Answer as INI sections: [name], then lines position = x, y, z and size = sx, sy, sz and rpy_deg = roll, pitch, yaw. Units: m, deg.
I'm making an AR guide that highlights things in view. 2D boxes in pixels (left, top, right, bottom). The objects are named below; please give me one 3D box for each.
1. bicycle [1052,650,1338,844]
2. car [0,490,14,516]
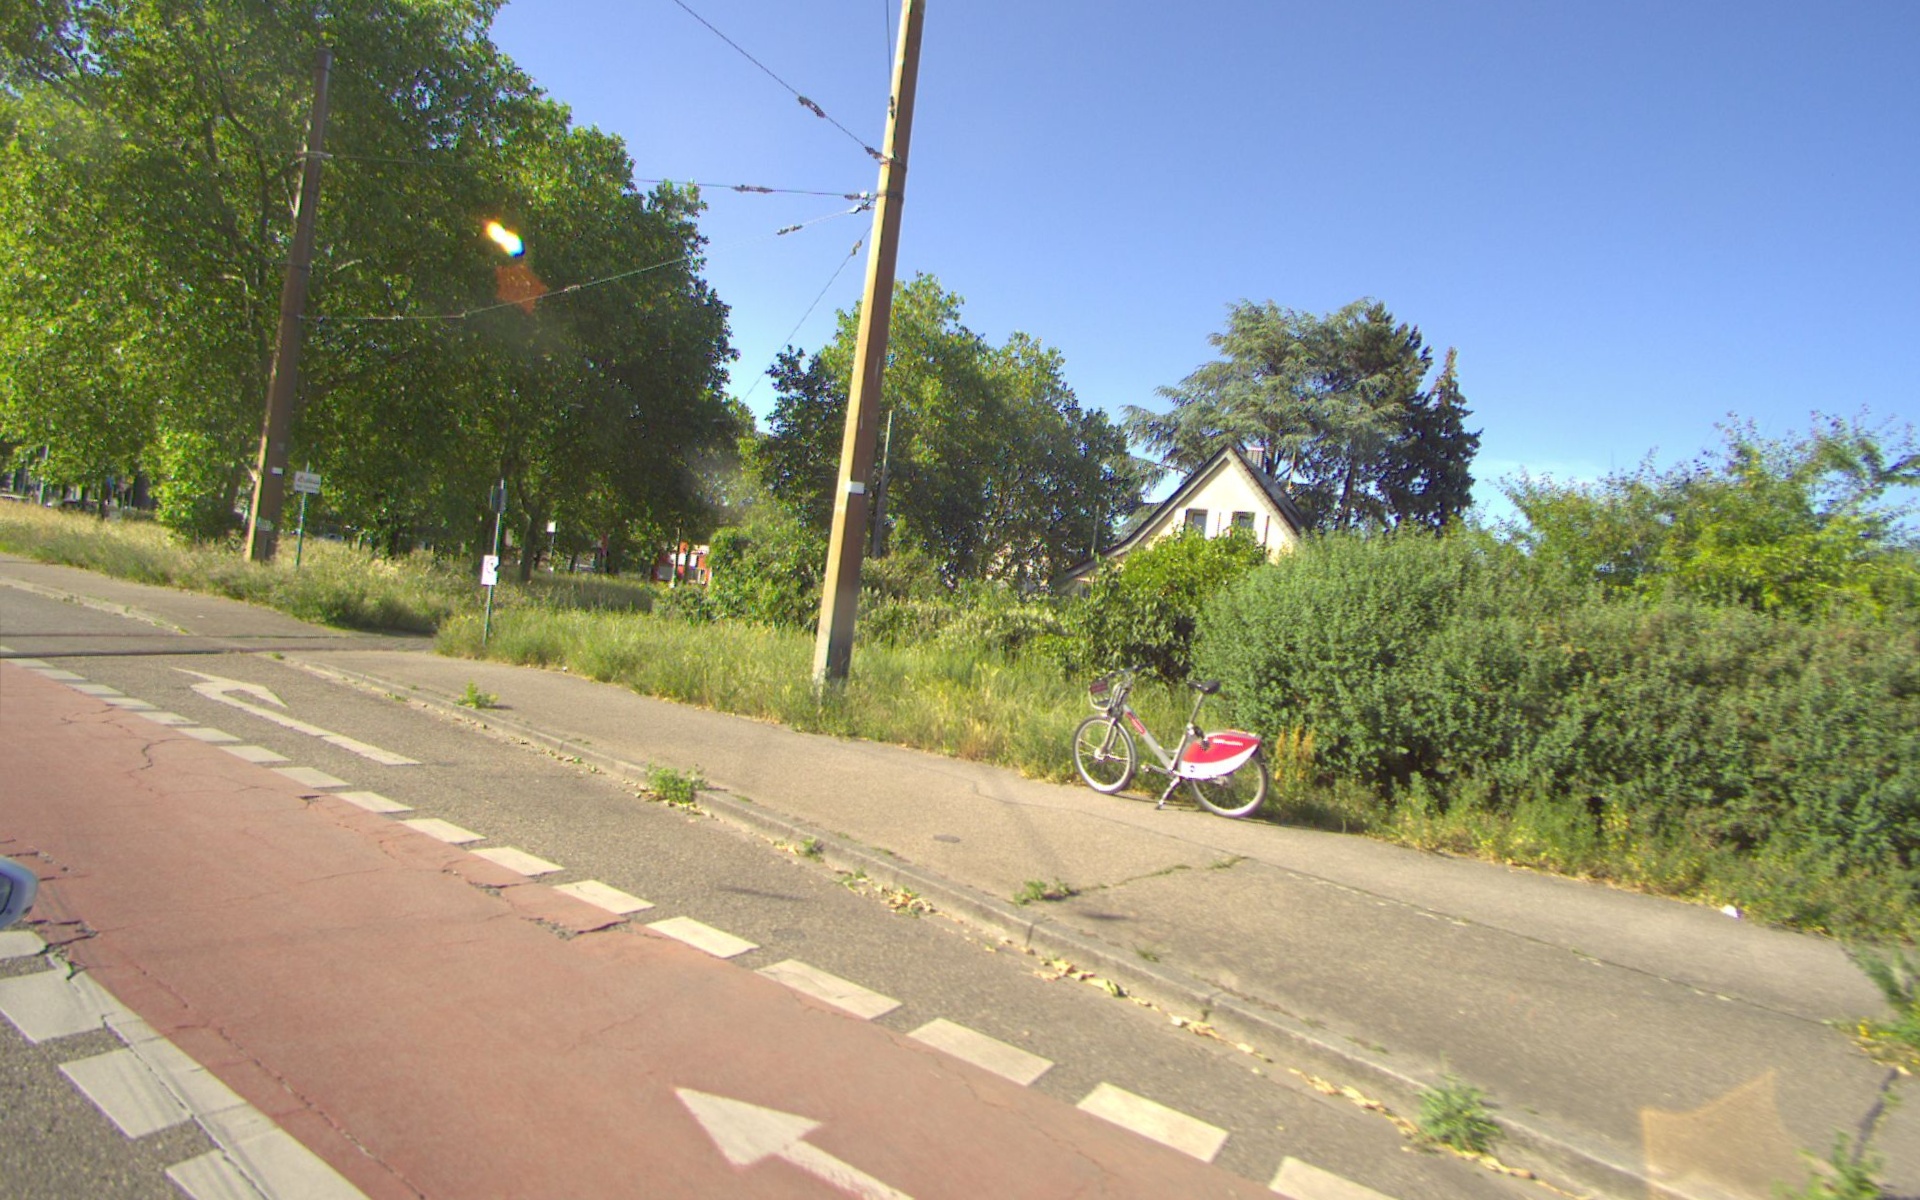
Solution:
[bicycle]
position = 1.791, 1.091, 7.900
size = 2.061, 1.149, 0.365
rpy_deg = 6, 1, 31
[car]
position = -76.523, -7.885, 77.664
size = 1.962, 1.900, 4.710
rpy_deg = 7, -2, 10
